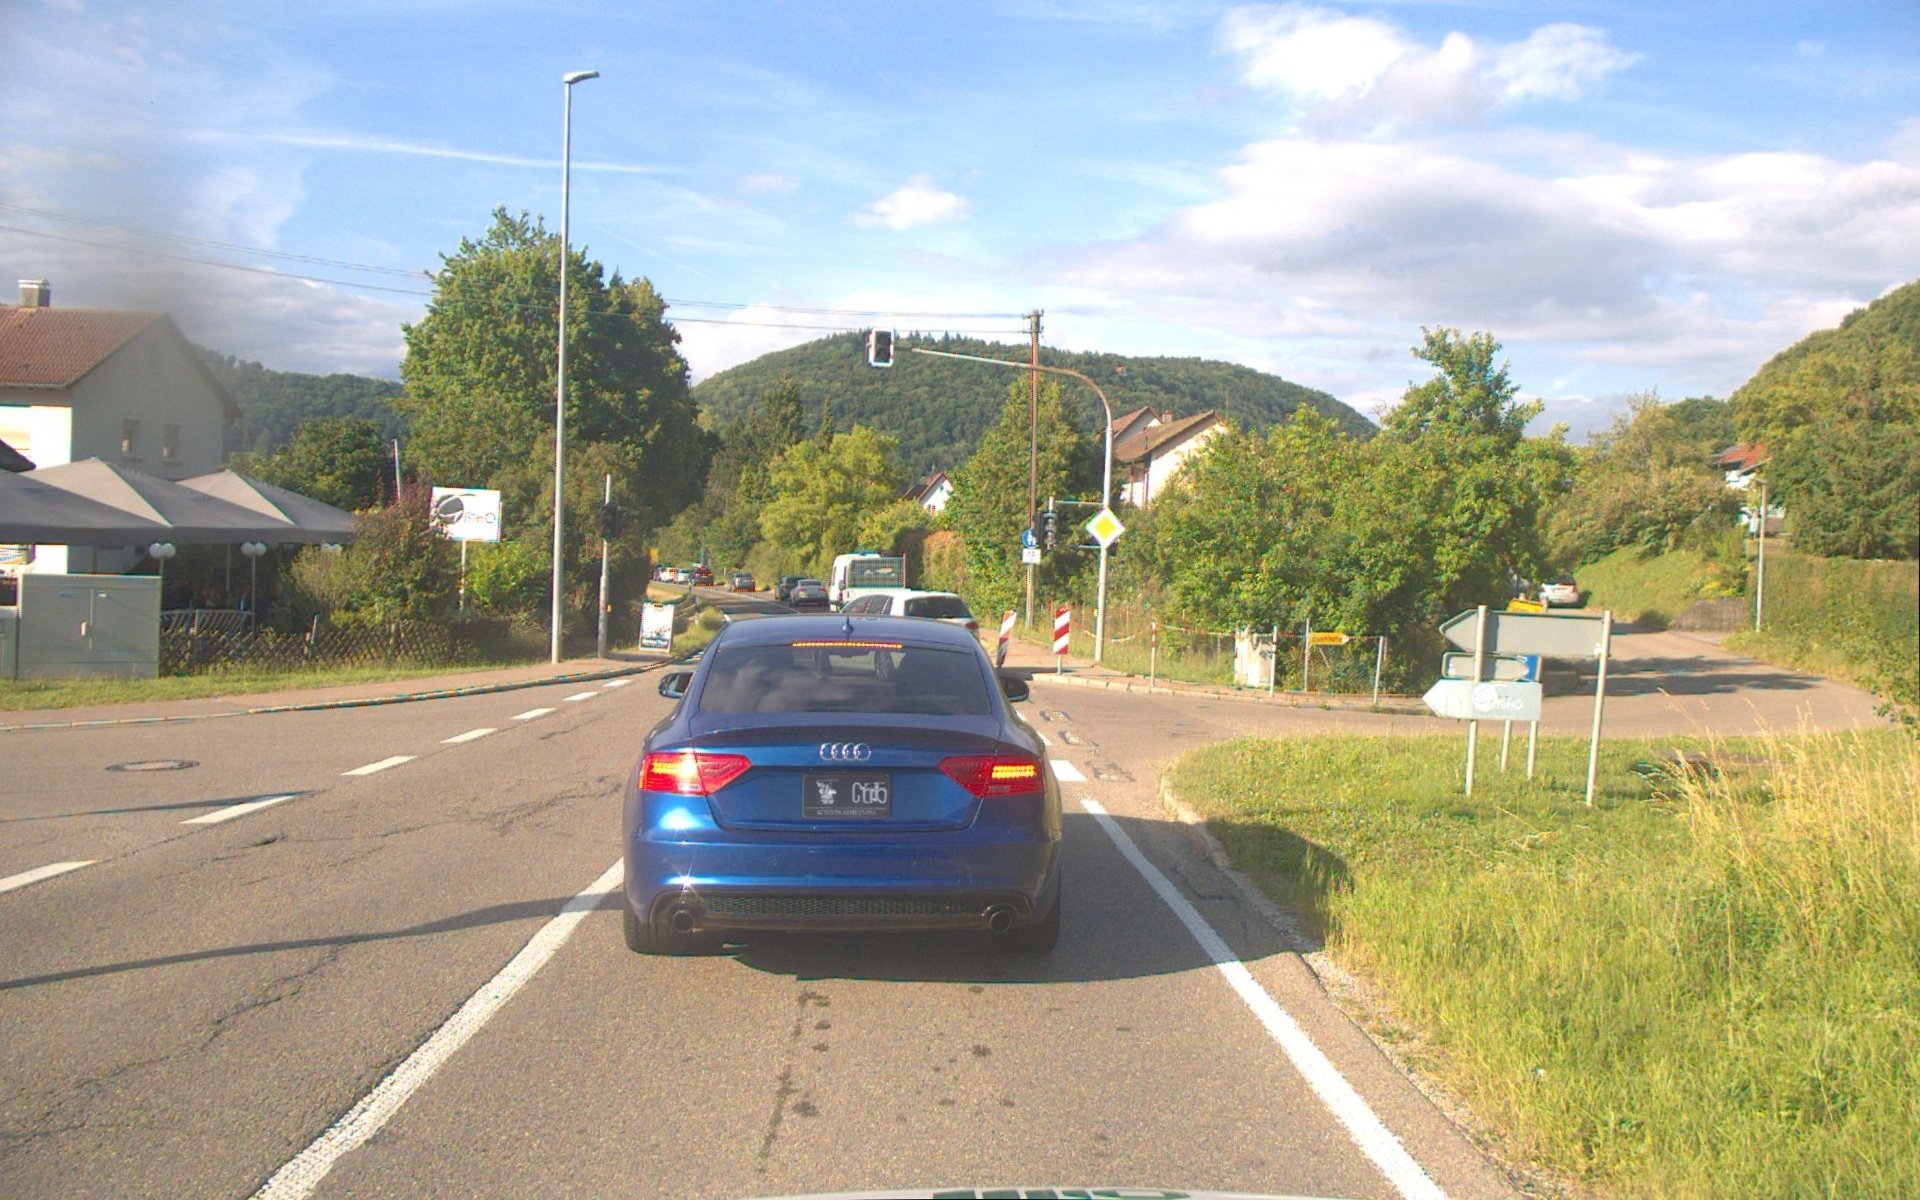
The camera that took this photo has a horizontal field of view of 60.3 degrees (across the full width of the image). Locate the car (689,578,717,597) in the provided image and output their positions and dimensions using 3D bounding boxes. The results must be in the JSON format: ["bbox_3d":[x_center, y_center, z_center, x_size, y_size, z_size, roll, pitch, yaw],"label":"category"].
[{"bbox_3d":[-23.172,-1.137,149.125,2.008,1.713,3.983,0,1,-16],"label":"car"}]

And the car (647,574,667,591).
[{"bbox_3d":[-32.762,-1.925,178.670,1.743,1.814,3.983,0,1,-16],"label":"car"}]

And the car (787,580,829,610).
[{"bbox_3d":[-8.264,-0.276,89.679,1.788,1.579,3.987,0,1,-13],"label":"car"}]

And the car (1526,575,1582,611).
[{"bbox_3d":[25.967,-0.281,72.442,1.951,1.490,4.003,1,0,15],"label":"car"}]

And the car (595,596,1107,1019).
[{"bbox_3d":[-0.472,0.720,7.943,1.793,1.433,4.224,0,1,-3],"label":"car"}]

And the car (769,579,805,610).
[{"bbox_3d":[-10.564,-0.351,101.024,1.765,1.825,3.988,0,1,-12],"label":"car"}]

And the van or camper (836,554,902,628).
[{"bbox_3d":[-3.855,-0.396,69.284,2.369,2.955,6.122,0,1,-7],"label":"van or camper"}]

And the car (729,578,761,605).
[{"bbox_3d":[-16.479,-0.684,126.466,1.960,2.049,3.984,0,1,-15],"label":"car"}]

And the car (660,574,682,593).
[{"bbox_3d":[-29.021,-1.666,166.142,1.720,1.814,3.983,0,1,-16],"label":"car"}]

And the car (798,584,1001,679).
[{"bbox_3d":[-1.140,0.516,28.947,1.753,1.439,4.130,2,0,-31],"label":"car"}]

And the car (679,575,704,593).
[{"bbox_3d":[-25.629,-1.563,157.626,1.911,1.713,3.983,0,1,-16],"label":"car"}]

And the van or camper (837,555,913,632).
[{"bbox_3d":[-2.866,-0.249,54.705,2.138,2.426,5.362,0,1,-7],"label":"van or camper"}]
